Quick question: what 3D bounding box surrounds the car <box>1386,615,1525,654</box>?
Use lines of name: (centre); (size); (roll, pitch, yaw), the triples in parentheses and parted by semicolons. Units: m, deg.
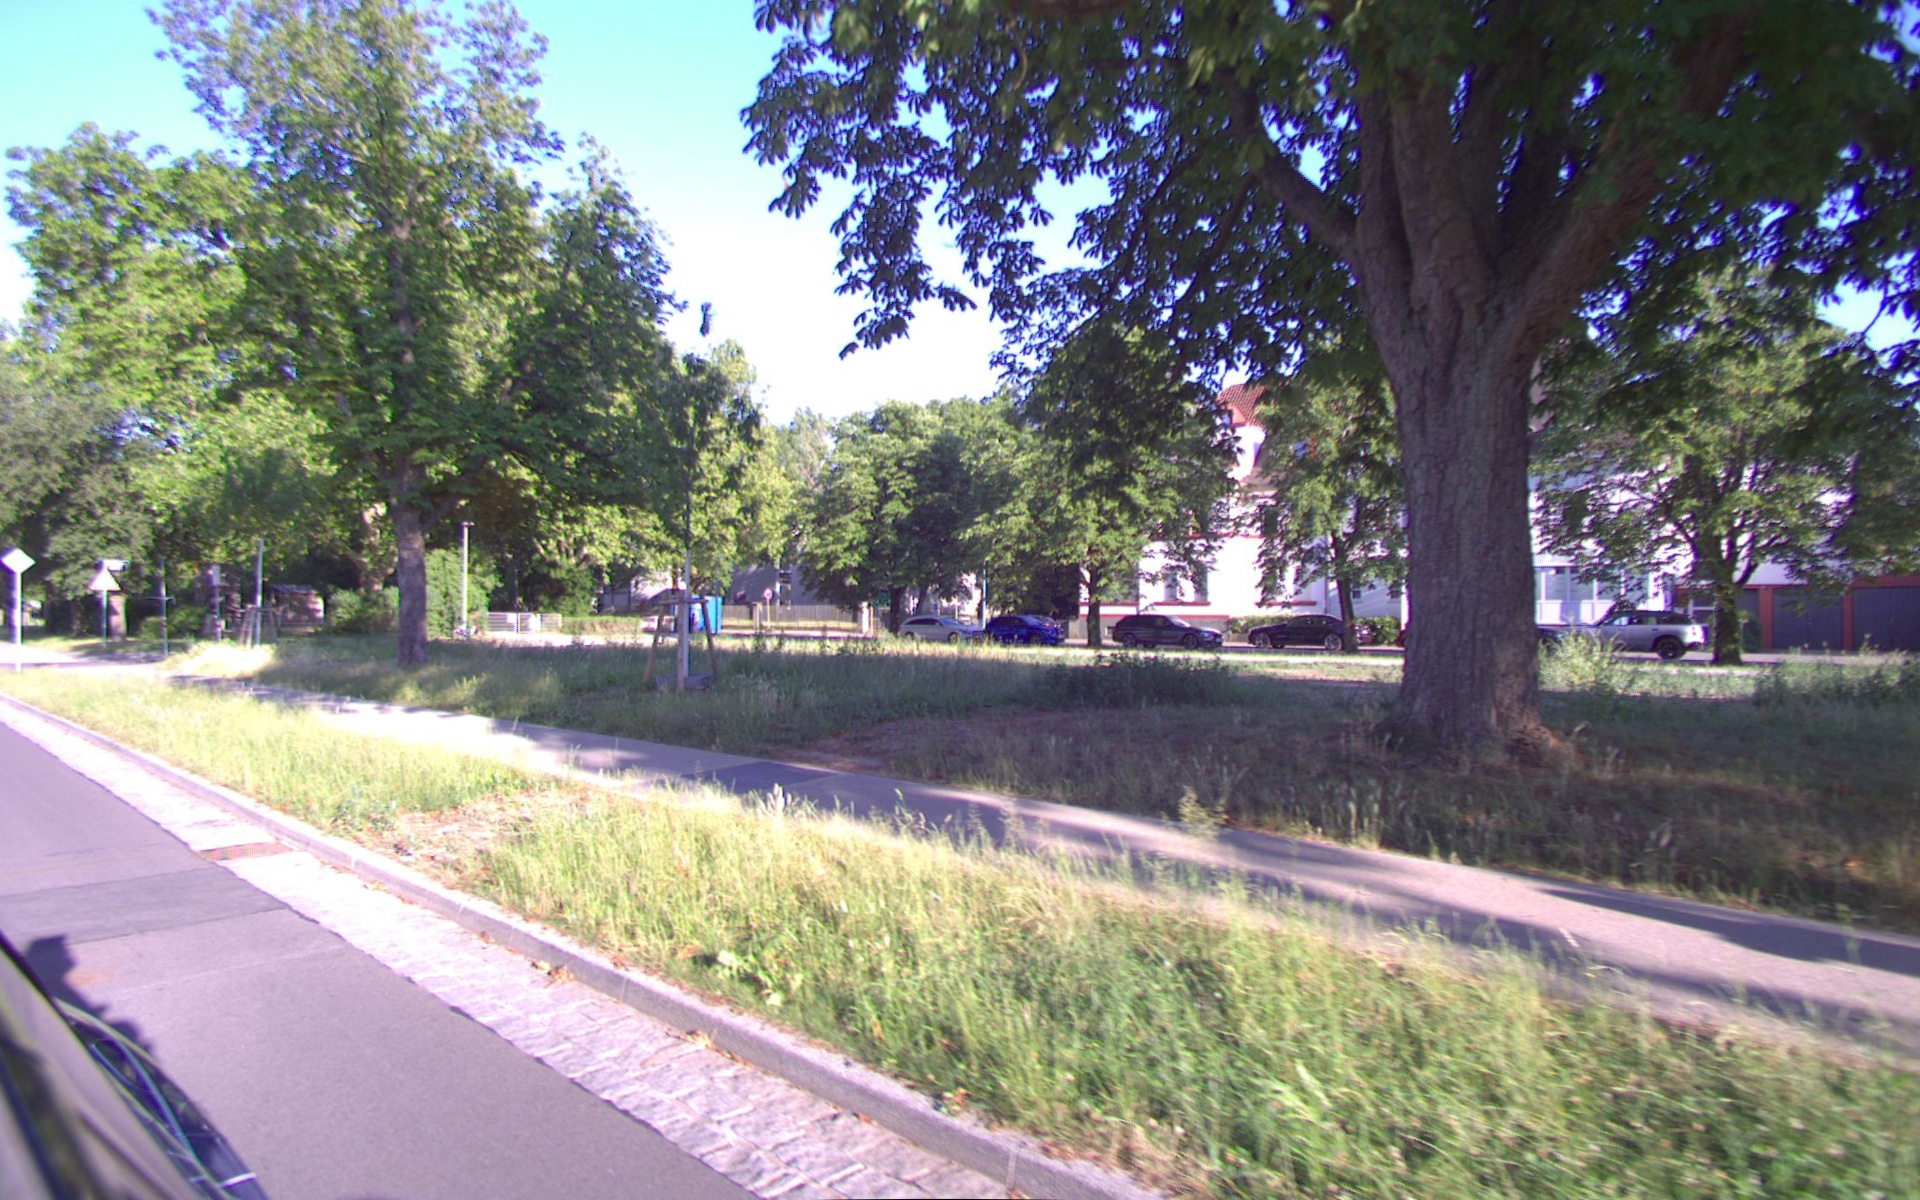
car: (18.737, 1.277, 38.382); (4.478, 1.342, 1.553); (-1, 1, 43)

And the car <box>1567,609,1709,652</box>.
car: (23.116, 1.010, 34.588); (3.852, 1.342, 1.553); (-1, 1, 43)

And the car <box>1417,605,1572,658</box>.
car: (17.415, 1.005, 33.086); (4.219, 1.609, 1.675); (-1, 0, 41)

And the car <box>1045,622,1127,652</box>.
car: (6.267, 1.813, 50.535); (3.852, 1.342, 1.553); (-1, 1, 43)

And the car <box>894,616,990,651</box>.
car: (-0.937, 1.599, 49.582); (4.751, 1.609, 1.676); (-1, 0, 39)

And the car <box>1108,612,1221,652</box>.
car: (8.246, 1.268, 41.010); (4.217, 1.487, 1.675); (-1, 0, 40)

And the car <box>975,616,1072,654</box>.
car: (2.879, 1.556, 46.127); (4.216, 1.609, 1.676); (-1, 0, 39)

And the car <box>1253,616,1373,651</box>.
car: (14.632, 1.364, 42.113); (4.480, 1.342, 1.553); (-1, 1, 43)

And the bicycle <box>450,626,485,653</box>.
bicycle: (-22.325, 1.779, 45.886); (0.417, 1.196, 1.579); (0, 0, 19)
